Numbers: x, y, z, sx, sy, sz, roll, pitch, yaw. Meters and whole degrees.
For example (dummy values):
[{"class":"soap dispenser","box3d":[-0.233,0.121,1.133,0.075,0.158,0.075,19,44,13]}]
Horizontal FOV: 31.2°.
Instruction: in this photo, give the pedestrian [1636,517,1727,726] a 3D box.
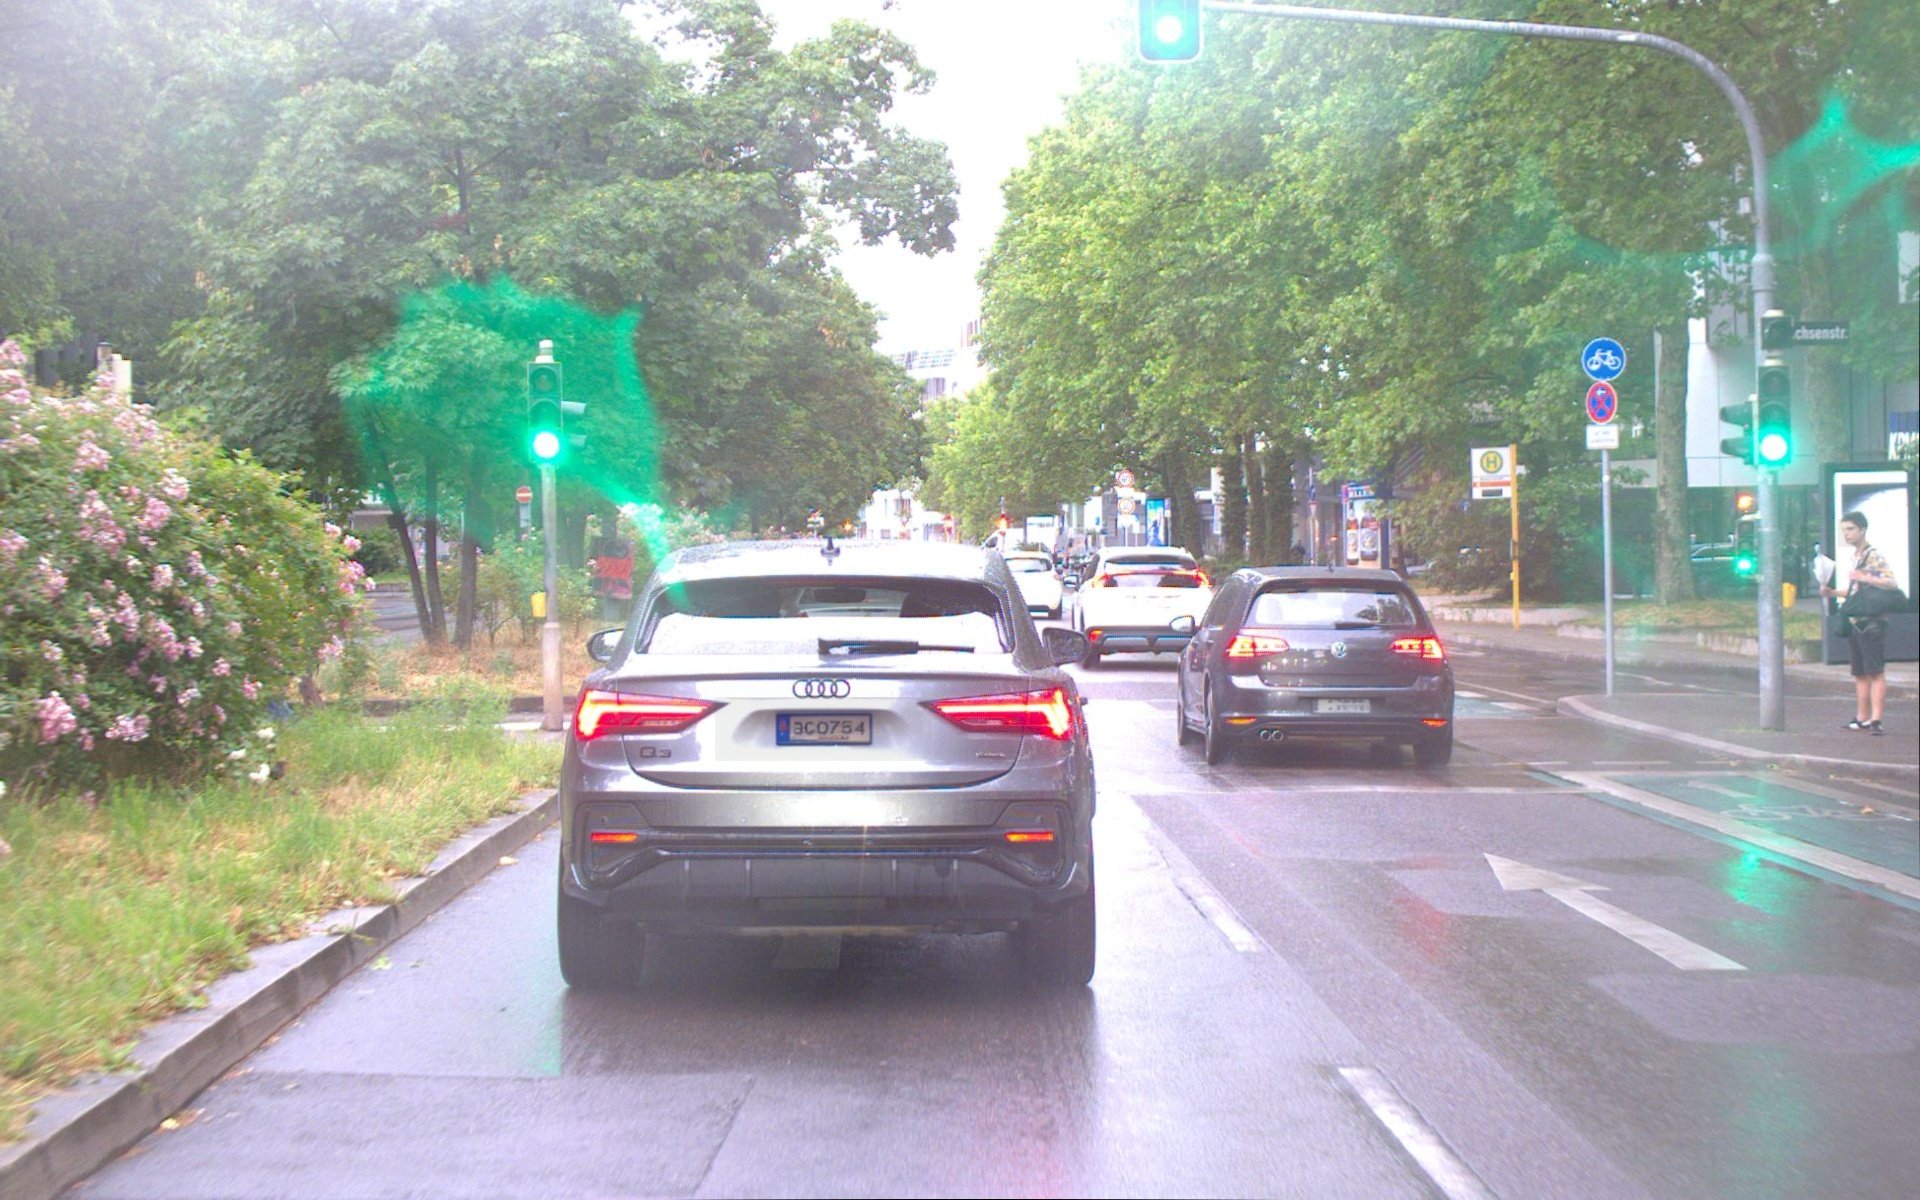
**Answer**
[{"class":"pedestrian","box3d":[6.352,0.182,30.298,0.605,1.824,0.564,-1,1,-10]}]

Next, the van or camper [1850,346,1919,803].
[{"class":"van or camper","box3d":[8.233,-0.153,19.467,5.809,2.668,2.143,0,1,37]}]

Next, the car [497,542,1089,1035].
[{"class":"car","box3d":[-0.509,0.560,13.140,1.863,1.527,4.527,0,1,1]}]

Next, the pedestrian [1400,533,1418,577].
[{"class":"pedestrian","box3d":[18.658,-1.872,142.930,0.650,1.809,0.655,0,1,-1]}]

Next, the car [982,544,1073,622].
[{"class":"car","box3d":[1.553,-0.427,80.685,1.993,1.744,4.000,-1,1,0]}]

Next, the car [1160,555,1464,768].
[{"class":"car","box3d":[2.556,0.396,25.793,1.765,1.408,4.000,-1,1,-1]}]

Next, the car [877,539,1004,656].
[{"class":"car","box3d":[-0.302,-0.067,49.347,1.721,1.572,3.962,-1,1,-1]}]

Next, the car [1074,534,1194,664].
[{"class":"car","box3d":[2.341,-0.039,46.850,1.433,1.679,2.979,-1,1,0]}]
